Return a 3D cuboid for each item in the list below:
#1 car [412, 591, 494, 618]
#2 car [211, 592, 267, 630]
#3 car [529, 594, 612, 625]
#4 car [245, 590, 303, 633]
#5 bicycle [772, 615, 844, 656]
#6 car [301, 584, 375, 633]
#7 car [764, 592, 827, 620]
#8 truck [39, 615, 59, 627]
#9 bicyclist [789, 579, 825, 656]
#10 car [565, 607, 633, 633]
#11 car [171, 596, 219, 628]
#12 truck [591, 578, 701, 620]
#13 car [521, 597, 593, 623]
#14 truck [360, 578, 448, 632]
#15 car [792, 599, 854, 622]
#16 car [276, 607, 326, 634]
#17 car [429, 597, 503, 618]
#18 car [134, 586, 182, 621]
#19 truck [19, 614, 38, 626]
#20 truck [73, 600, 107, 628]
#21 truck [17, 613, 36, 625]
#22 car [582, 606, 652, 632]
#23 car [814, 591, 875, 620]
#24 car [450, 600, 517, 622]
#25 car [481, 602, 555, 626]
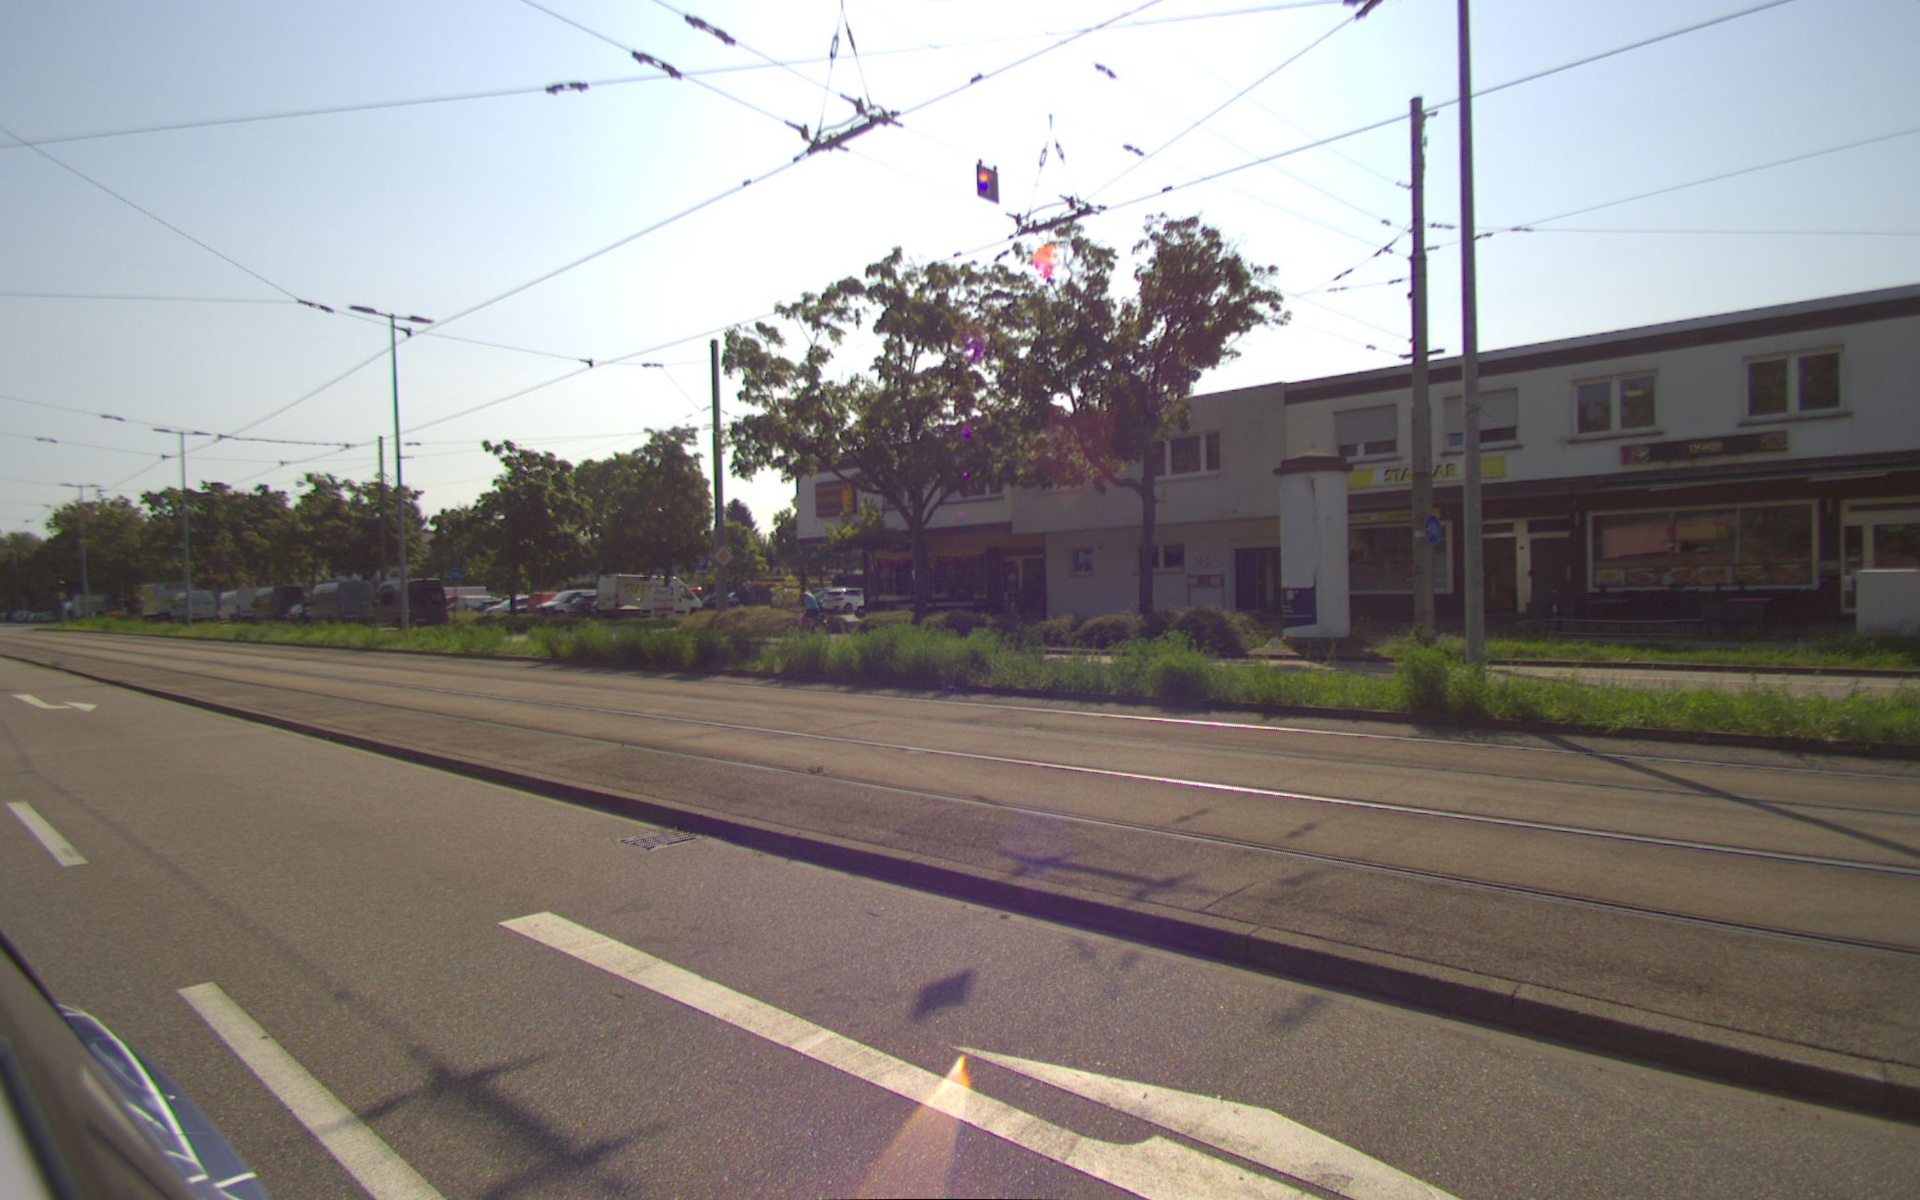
[{"bbox_3d":[-37.956,0.365,75.839,2.051,1.940,5.132,-1,-1,40],"label":"car"},{"bbox_3d":[-50.824,0.772,71.273,5.630,2.606,2.109,-1,-1,42],"label":"car"},{"bbox_3d":[-23.127,0.550,60.209,1.632,1.798,4.353,-1,-1,40],"label":"car"},{"bbox_3d":[-44.689,0.766,65.856,5.910,2.605,1.802,-1,1,43],"label":"car"},{"bbox_3d":[-4.194,0.953,27.790,2.265,1.099,0.707,-1,-1,42],"label":"bicycle"},{"bbox_3d":[-35.462,0.459,57.614,6.468,2.605,1.966,-1,2,44],"label":"car"},{"bbox_3d":[-10.871,0.387,66.986,3.758,1.782,1.760,0,-1,-43],"label":"car"},{"bbox_3d":[-123.004,2.809,136.658,3.655,1.687,1.669,-1,-1,42],"label":"truck"},{"bbox_3d":[-4.190,0.467,27.781,0.774,2.080,0.630,-1,-1,43],"label":"bicyclist"},{"bbox_3d":[-20.713,1.122,58.156,1.632,1.437,3.369,-1,-1,40],"label":"car"},{"bbox_3d":[-61.217,0.951,80.946,4.829,2.477,2.121,-1,-1,41],"label":"car"},{"bbox_3d":[-17.146,-0.006,55.436,2.258,2.189,5.433,-1,-1,40],"label":"truck"},{"bbox_3d":[-24.835,0.632,62.461,1.632,1.530,3.883,-1,-1,40],"label":"car"},{"bbox_3d":[-28.058,0.272,50.964,5.736,2.567,2.059,-1,-1,41],"label":"truck"},{"bbox_3d":[-8.696,0.634,64.423,3.660,1.353,1.493,-2,0,-41],"label":"car"},{"bbox_3d":[-40.274,1.232,61.807,3.835,1.563,1.725,-1,1,44],"label":"car"},{"bbox_3d":[-35.854,0.556,73.550,1.632,1.461,4.606,-1,-1,40],"label":"car"},{"bbox_3d":[-68.952,0.331,87.001,7.230,2.826,2.102,-1,-1,42],"label":"car"},{"bbox_3d":[-131.323,2.801,142.704,3.655,1.687,1.669,-1,-1,42],"label":"truck"},{"bbox_3d":[-100.343,1.585,116.657,8.790,3.145,2.247,-1,-1,45],"label":"truck"},{"bbox_3d":[-134.161,2.774,145.378,3.655,1.687,1.669,-1,-1,42],"label":"truck"},{"bbox_3d":[-19.255,1.061,56.927,1.632,1.437,3.369,-1,-1,40],"label":"car"},{"bbox_3d":[-7.121,0.328,62.763,1.874,1.513,3.414,2,4,38],"label":"car"},{"bbox_3d":[-32.591,0.775,69.297,1.632,1.461,3.883,-1,-1,40],"label":"car"},{"bbox_3d":[-28.702,0.922,65.789,1.624,1.474,4.112,-1,-1,42],"label":"car"}]
